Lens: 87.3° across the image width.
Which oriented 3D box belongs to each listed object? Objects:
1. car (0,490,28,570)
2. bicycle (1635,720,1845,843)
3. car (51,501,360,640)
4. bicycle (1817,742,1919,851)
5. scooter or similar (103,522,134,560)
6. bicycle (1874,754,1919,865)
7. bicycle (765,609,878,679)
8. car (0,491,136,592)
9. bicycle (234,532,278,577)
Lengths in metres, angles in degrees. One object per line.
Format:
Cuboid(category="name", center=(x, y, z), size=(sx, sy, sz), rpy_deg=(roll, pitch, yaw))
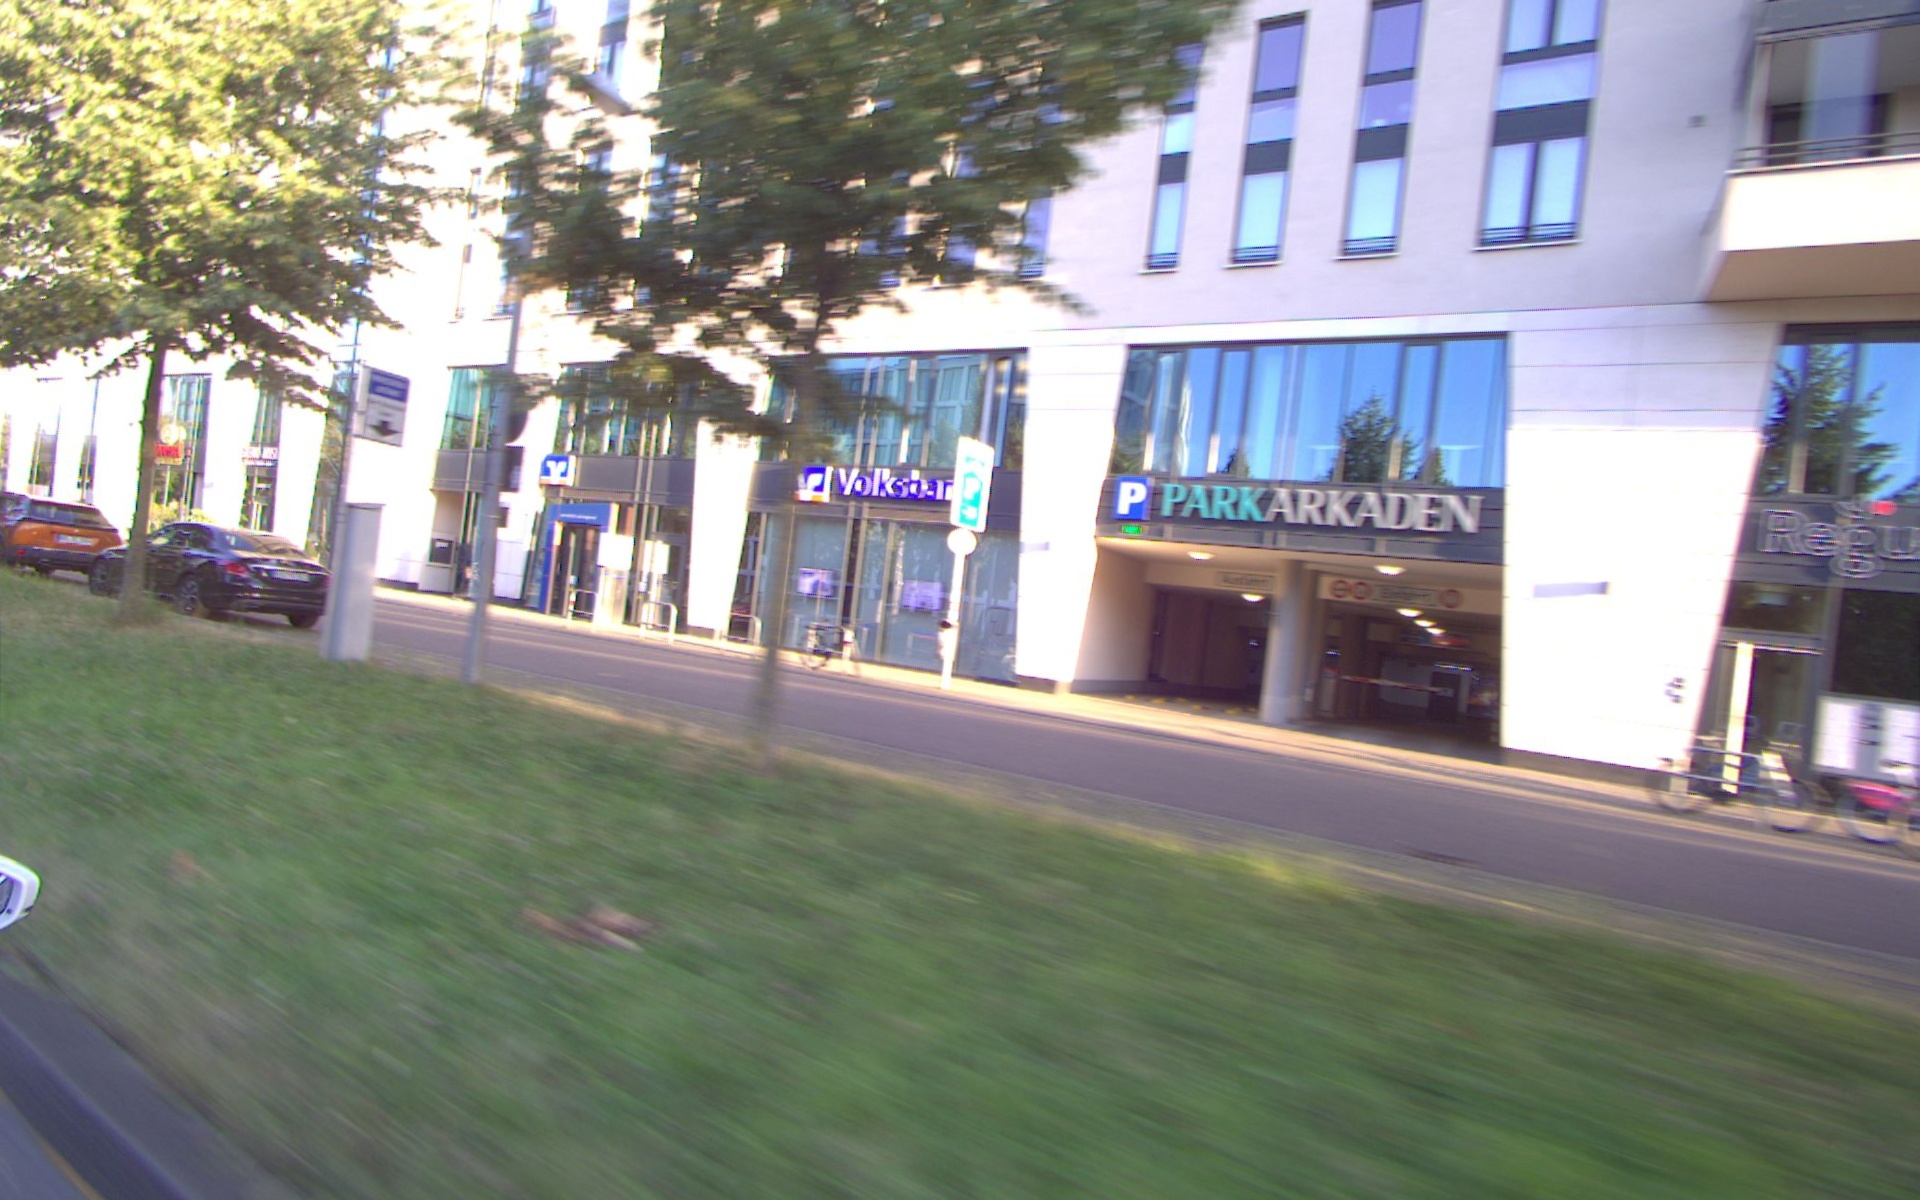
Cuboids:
Cuboid(category="car", center=(-24.024, -1.882, 23.430), size=(5.072, 1.734, 1.956), rpy_deg=(6, -2, 31))
Cuboid(category="bicycle", center=(9.255, 2.125, 12.034), size=(1.825, 1.075, 0.533), rpy_deg=(7, 2, 30))
Cuboid(category="car", center=(-11.970, -0.479, 15.917), size=(4.728, 1.566, 1.949), rpy_deg=(6, -2, 28))
Cuboid(category="bicycle", center=(11.160, 2.335, 11.561), size=(1.825, 1.075, 0.533), rpy_deg=(7, 2, 30))
Cuboid(category="scooter or similar", center=(-28.829, -2.032, 34.456), size=(1.289, 1.202, 0.356), rpy_deg=(7, 1, 31))
Cuboid(category="bicycle", center=(10.763, 2.299, 10.415), size=(1.748, 1.075, 0.534), rpy_deg=(7, 2, 21))
Cuboid(category="bicycle", center=(-2.606, 0.818, 18.810), size=(2.020, 1.051, 0.654), rpy_deg=(6, 0, 30))
Cuboid(category="car", center=(-18.127, -1.231, 19.417), size=(4.406, 1.547, 1.859), rpy_deg=(6, -2, 30))
Cuboid(category="bicycle", center=(-20.444, -1.337, 29.192), size=(1.808, 1.139, 0.569), rpy_deg=(7, 2, 41))
